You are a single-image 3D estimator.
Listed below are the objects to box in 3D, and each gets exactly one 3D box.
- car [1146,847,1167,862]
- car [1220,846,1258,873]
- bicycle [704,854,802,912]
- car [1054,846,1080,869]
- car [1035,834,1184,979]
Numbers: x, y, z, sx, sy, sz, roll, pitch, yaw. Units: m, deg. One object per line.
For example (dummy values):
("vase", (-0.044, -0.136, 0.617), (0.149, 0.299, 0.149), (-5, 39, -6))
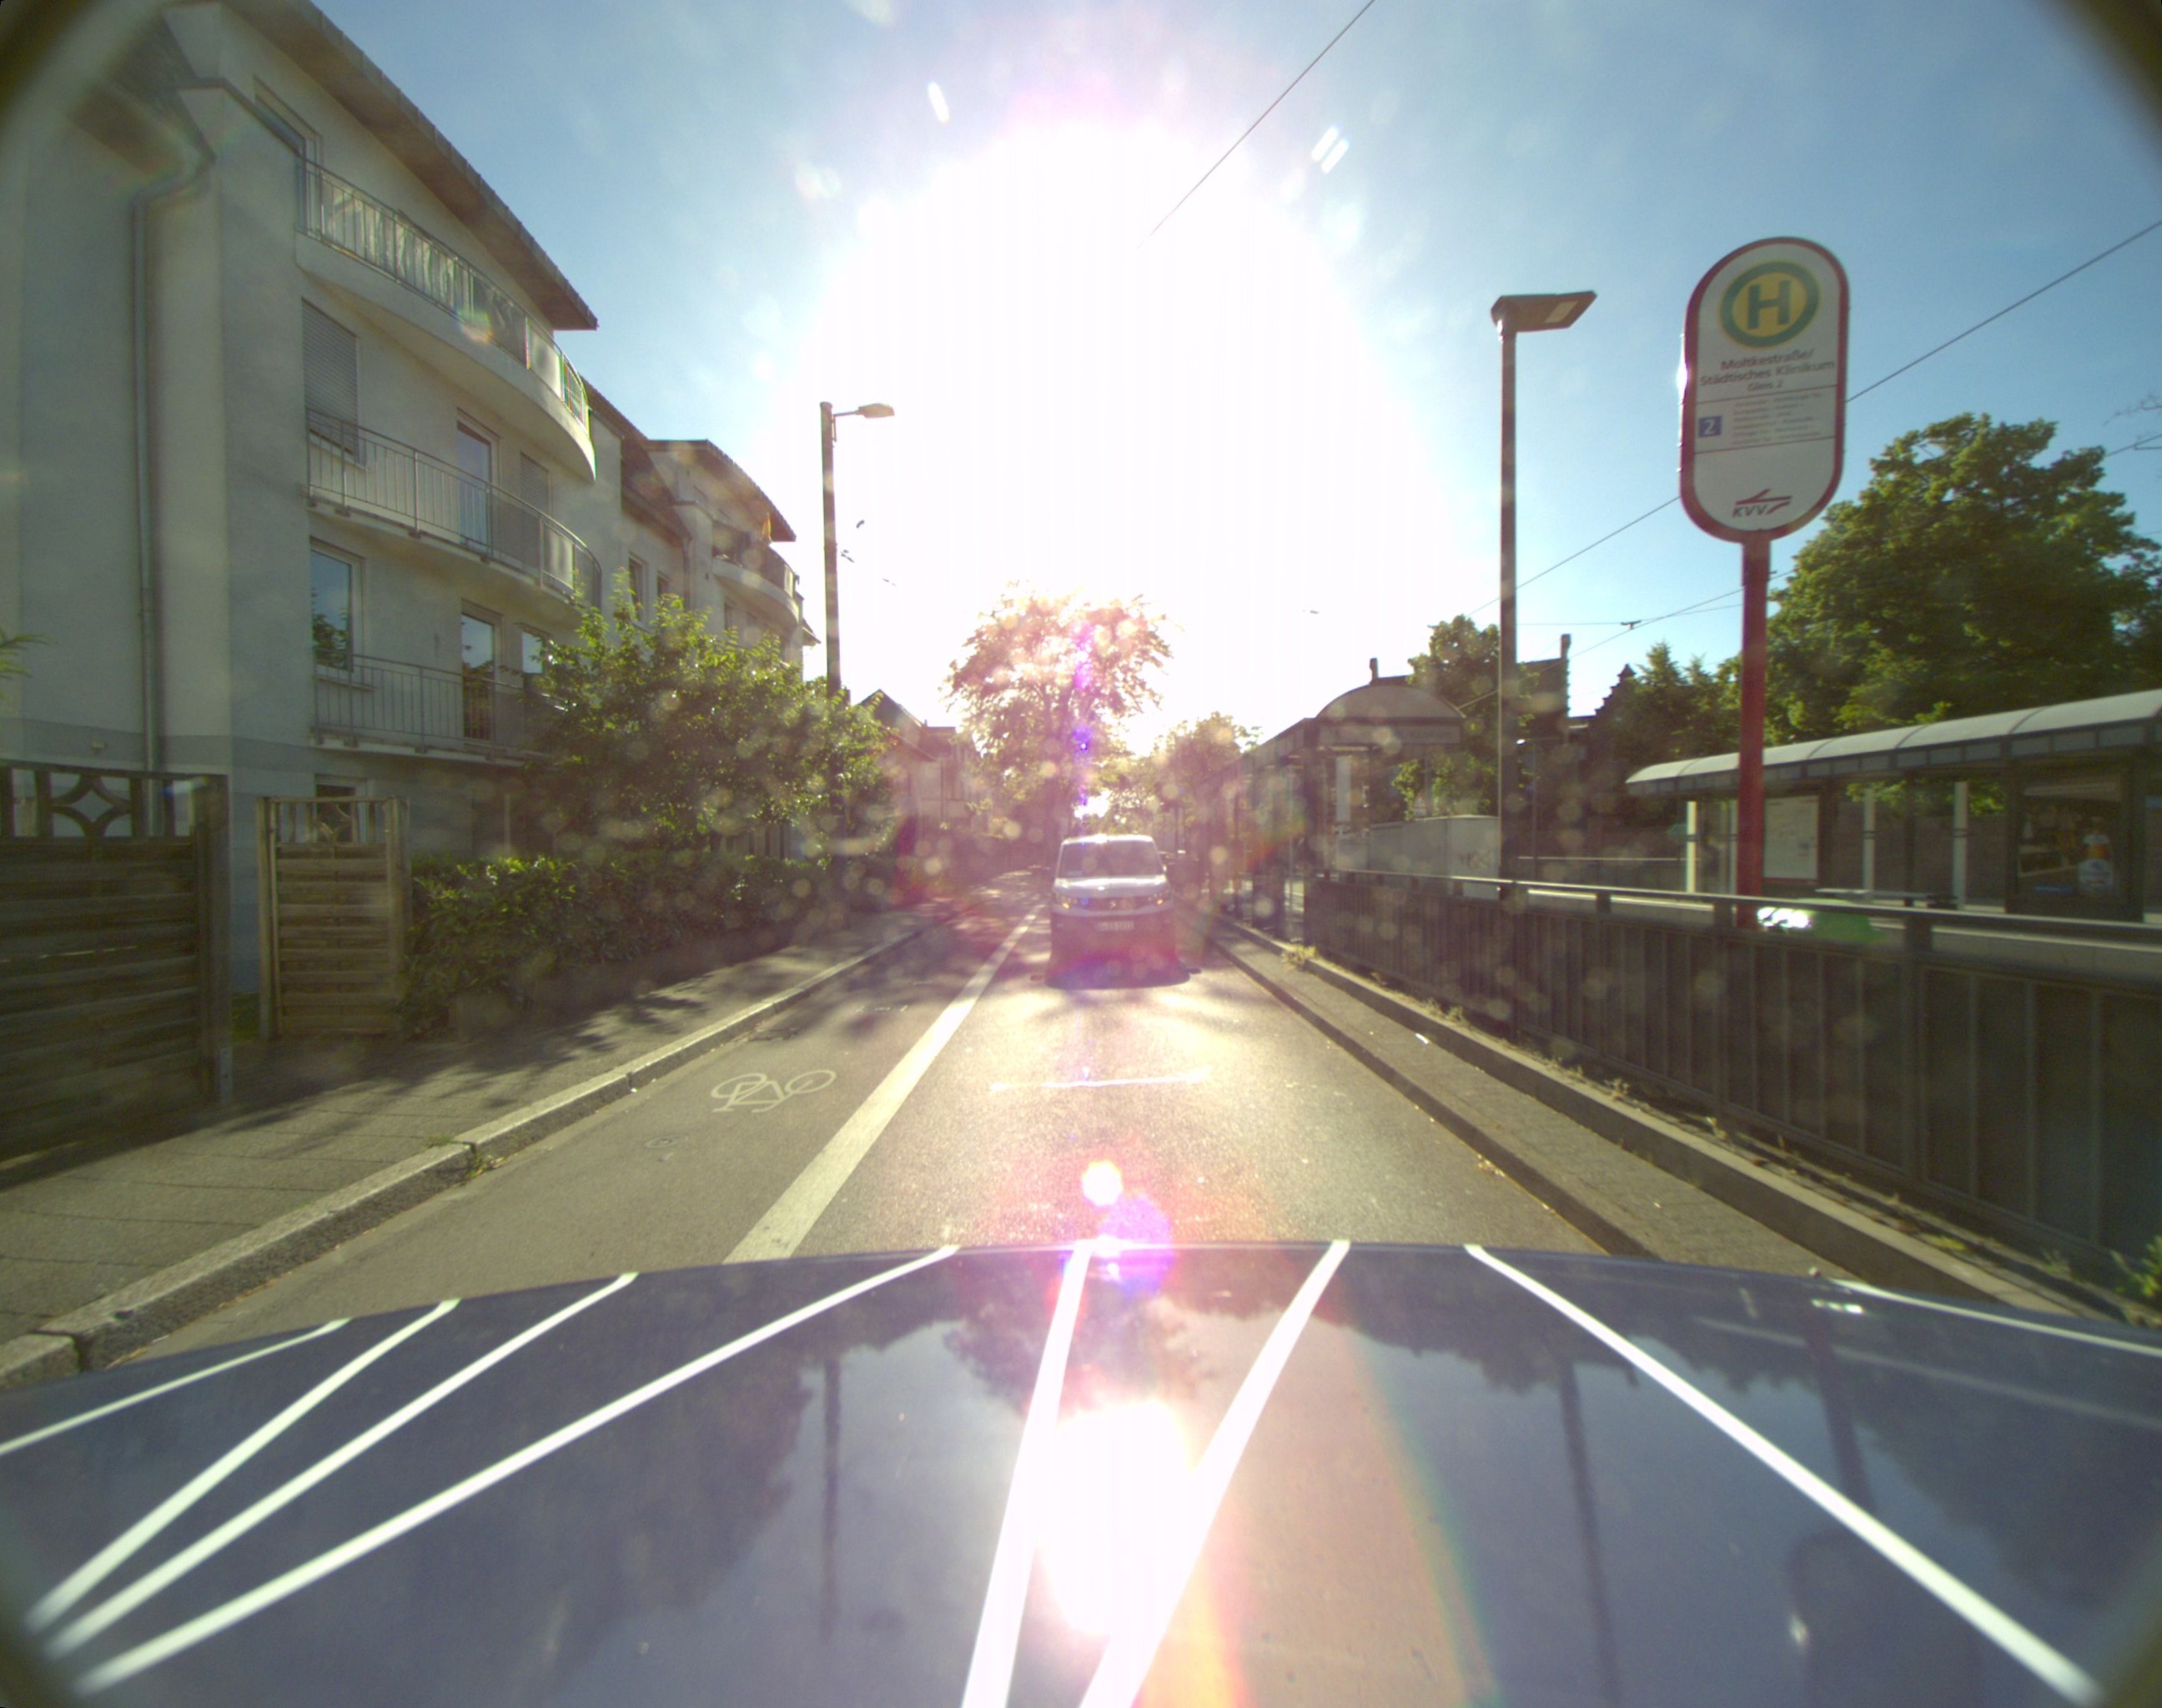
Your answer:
("car", (7.829, 0.098, 79.272), (1.859, 1.394, 3.985), (-1, -3, 2))
("car", (10.268, 0.329, 49.533), (1.910, 1.667, 4.359), (-1, 1, 5))
("bicycle", (-7.540, 0.659, 17.534), (1.845, 1.196, 0.825), (3, 1, 0))
("car", (-1.090, 0.282, 61.628), (1.998, 1.733, 4.170), (-1, 1, 1))
("car", (0.414, 0.641, 11.883), (1.832, 1.788, 4.333), (-2, 1, 1))
